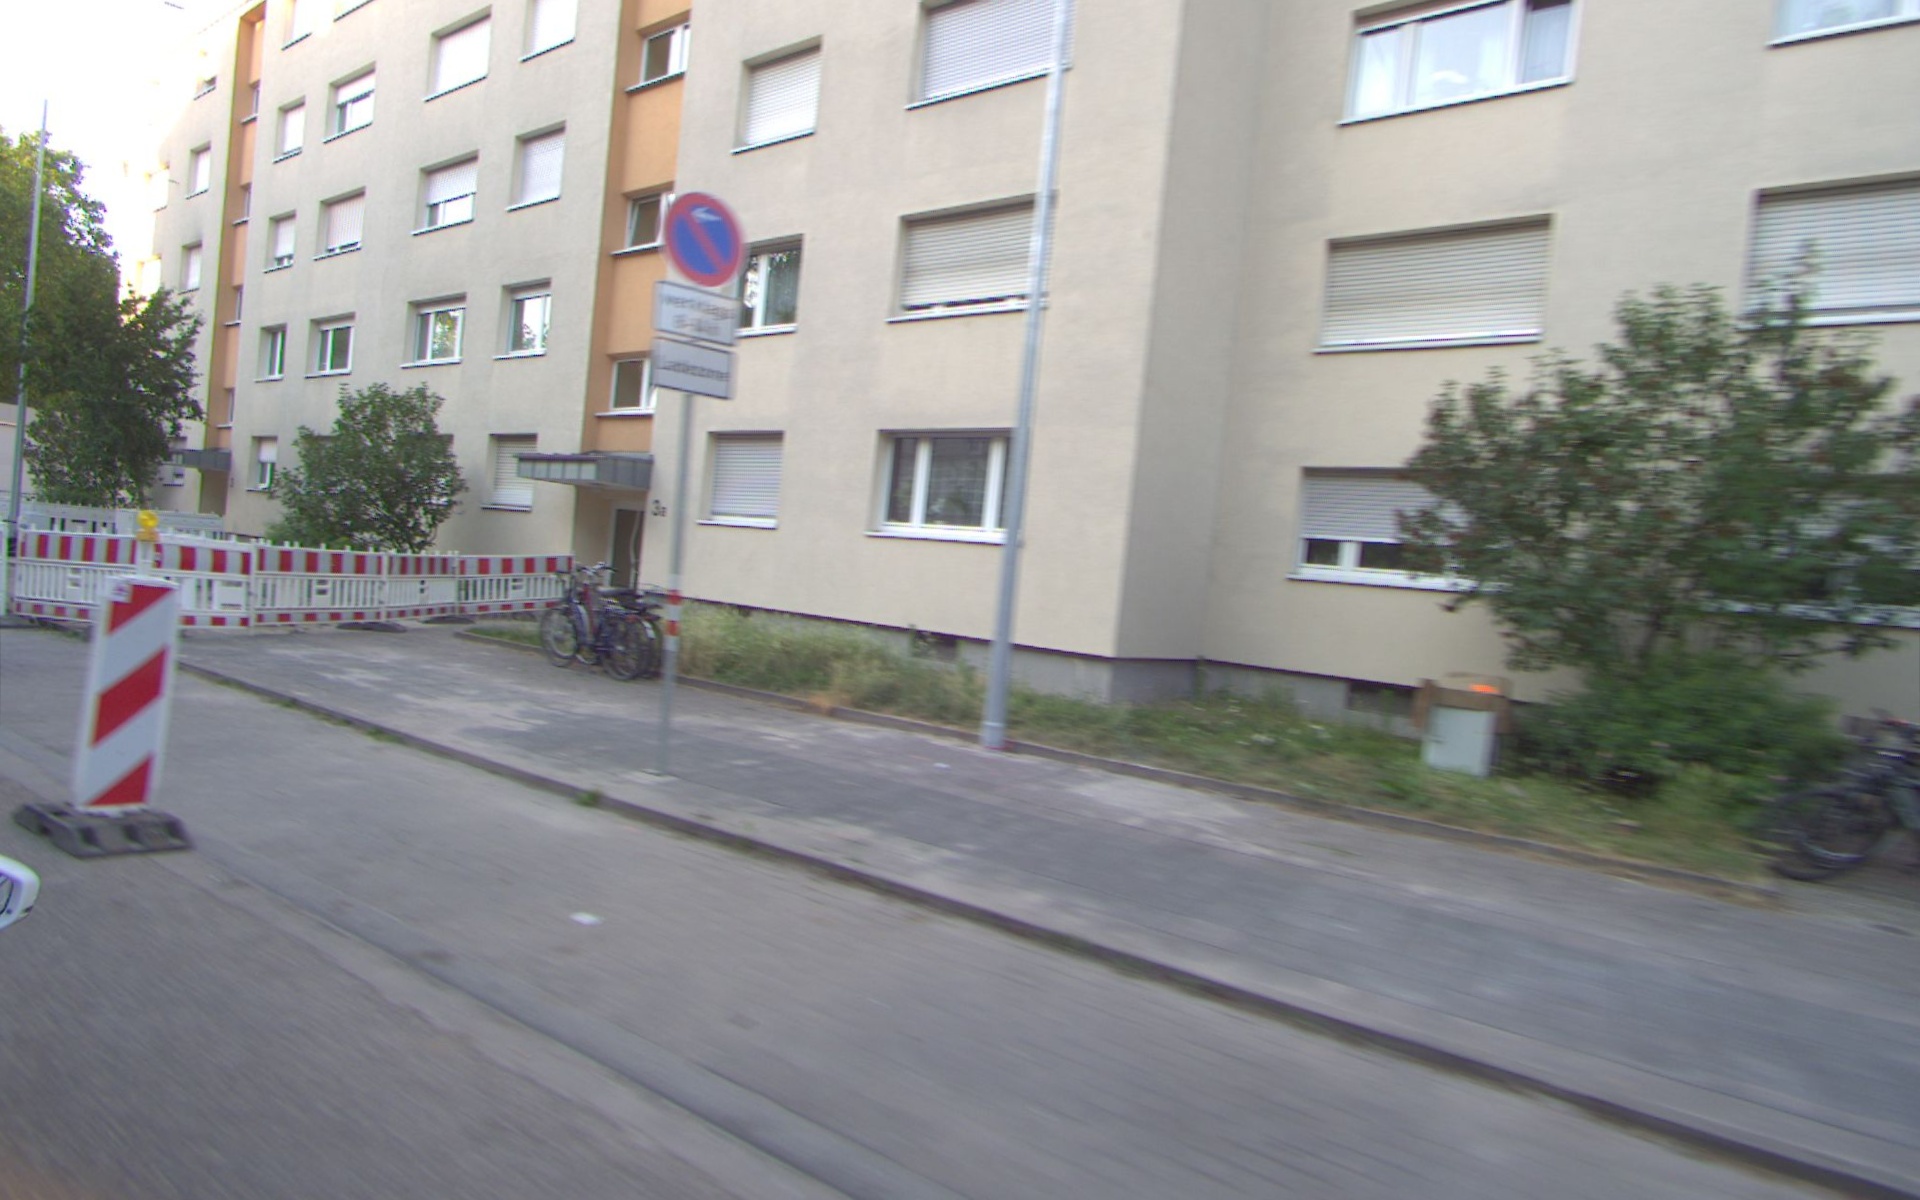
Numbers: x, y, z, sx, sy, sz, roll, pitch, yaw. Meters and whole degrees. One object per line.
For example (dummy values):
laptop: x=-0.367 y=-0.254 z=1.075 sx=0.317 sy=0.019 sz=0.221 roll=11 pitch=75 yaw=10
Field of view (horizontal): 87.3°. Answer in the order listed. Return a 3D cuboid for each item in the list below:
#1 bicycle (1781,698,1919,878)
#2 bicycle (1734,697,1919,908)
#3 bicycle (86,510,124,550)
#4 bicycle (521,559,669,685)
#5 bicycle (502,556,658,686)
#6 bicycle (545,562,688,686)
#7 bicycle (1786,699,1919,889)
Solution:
bicycle: x=7.268 y=1.444 z=7.372 sx=1.788 sy=1.187 sz=0.556 roll=7 pitch=1 yaw=35
bicycle: x=6.201 y=1.349 z=6.478 sx=1.788 sy=1.187 sz=0.556 roll=7 pitch=1 yaw=35
bicycle: x=-23.258 y=-1.905 z=27.394 sx=0.540 sy=0.980 sz=1.797 roll=5 pitch=1 yaw=-34
bicycle: x=-4.222 y=0.234 z=11.574 sx=1.879 sy=1.237 sz=0.398 roll=7 pitch=1 yaw=30
bicycle: x=-4.290 y=0.220 z=11.293 sx=1.879 sy=1.237 sz=0.452 roll=7 pitch=1 yaw=30
bicycle: x=-4.036 y=0.259 z=11.753 sx=1.795 sy=1.237 sz=0.398 roll=7 pitch=1 yaw=30
bicycle: x=6.913 y=1.405 z=6.887 sx=1.788 sy=1.187 sz=0.556 roll=7 pitch=1 yaw=35
